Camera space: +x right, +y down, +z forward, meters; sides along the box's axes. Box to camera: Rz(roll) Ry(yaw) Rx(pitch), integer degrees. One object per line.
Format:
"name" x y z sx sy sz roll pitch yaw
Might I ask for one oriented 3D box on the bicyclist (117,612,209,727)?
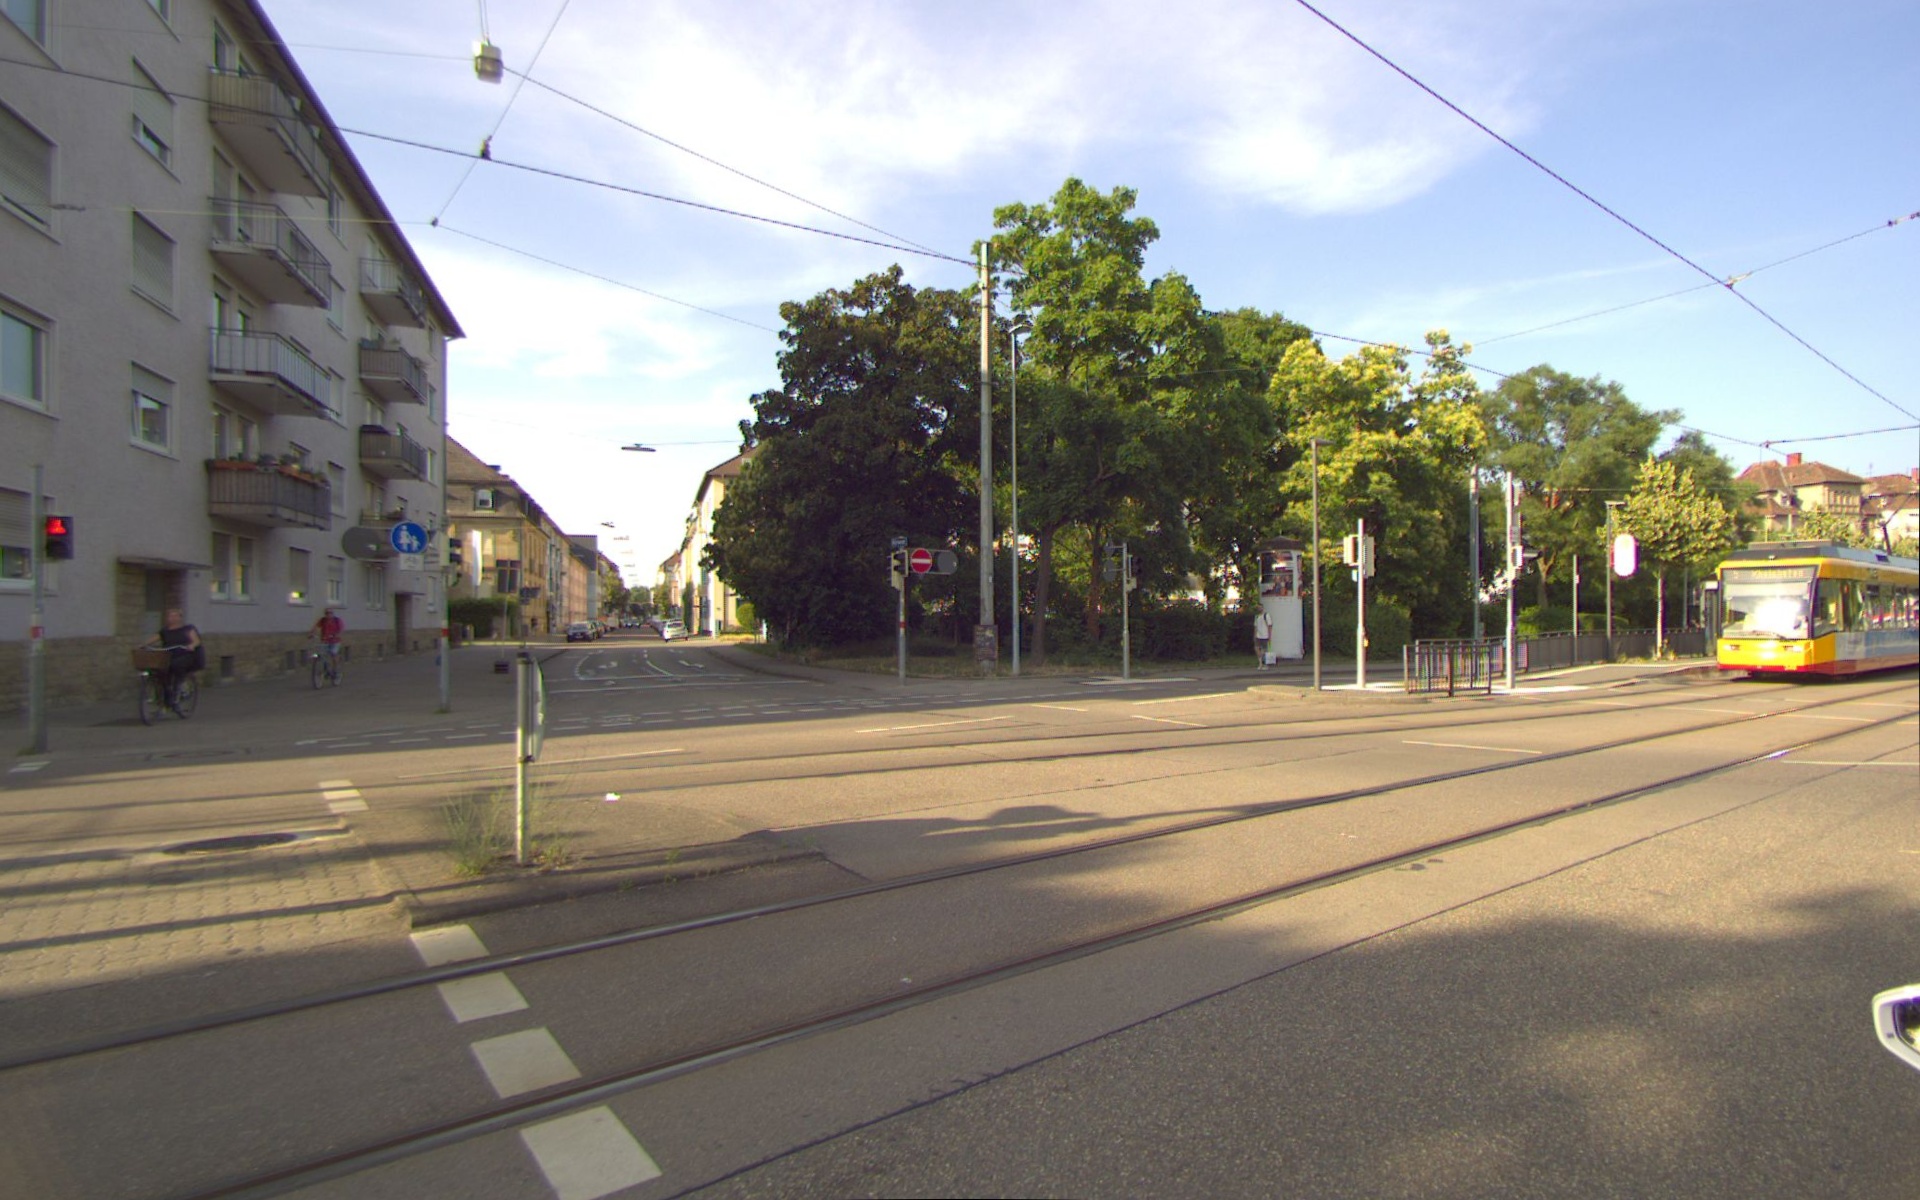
"bicyclist" -11.950 1.036 15.091 0.782 1.664 0.771 3 -2 -17

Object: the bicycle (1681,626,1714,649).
"bicycle" 34.749 1.741 47.309 2.227 1.032 0.538 0 0 -35

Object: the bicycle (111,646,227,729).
"bicycle" -12.033 1.298 15.358 0.723 1.125 1.910 0 -1 -16

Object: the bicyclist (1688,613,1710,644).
"bicyclist" 34.789 1.336 47.277 0.710 1.432 0.646 0 0 -35

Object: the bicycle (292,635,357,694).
"bicycle" -14.446 1.433 22.875 0.723 1.219 1.974 0 0 -16

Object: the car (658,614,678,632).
"car" -31.072 2.423 106.913 1.968 1.748 3.984 0 0 -18

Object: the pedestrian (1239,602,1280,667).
"pedestrian" 8.983 1.016 30.116 0.990 1.935 0.705 0 0 40

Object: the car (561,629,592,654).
"car" -28.983 3.119 75.870 1.972 1.748 3.976 0 0 -24

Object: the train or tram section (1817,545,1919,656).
"train or tram section" 35.593 0.025 37.373 14.348 3.526 3.136 0 0 -39

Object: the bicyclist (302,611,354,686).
"bicyclist" -14.415 1.086 22.927 0.801 1.664 0.850 0 0 -17

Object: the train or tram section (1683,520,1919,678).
"train or tram section" 24.497 -0.006 28.284 14.408 3.526 3.136 0 0 -39

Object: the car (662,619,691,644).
"car" -21.935 2.416 77.640 1.968 1.748 3.984 0 0 -18
